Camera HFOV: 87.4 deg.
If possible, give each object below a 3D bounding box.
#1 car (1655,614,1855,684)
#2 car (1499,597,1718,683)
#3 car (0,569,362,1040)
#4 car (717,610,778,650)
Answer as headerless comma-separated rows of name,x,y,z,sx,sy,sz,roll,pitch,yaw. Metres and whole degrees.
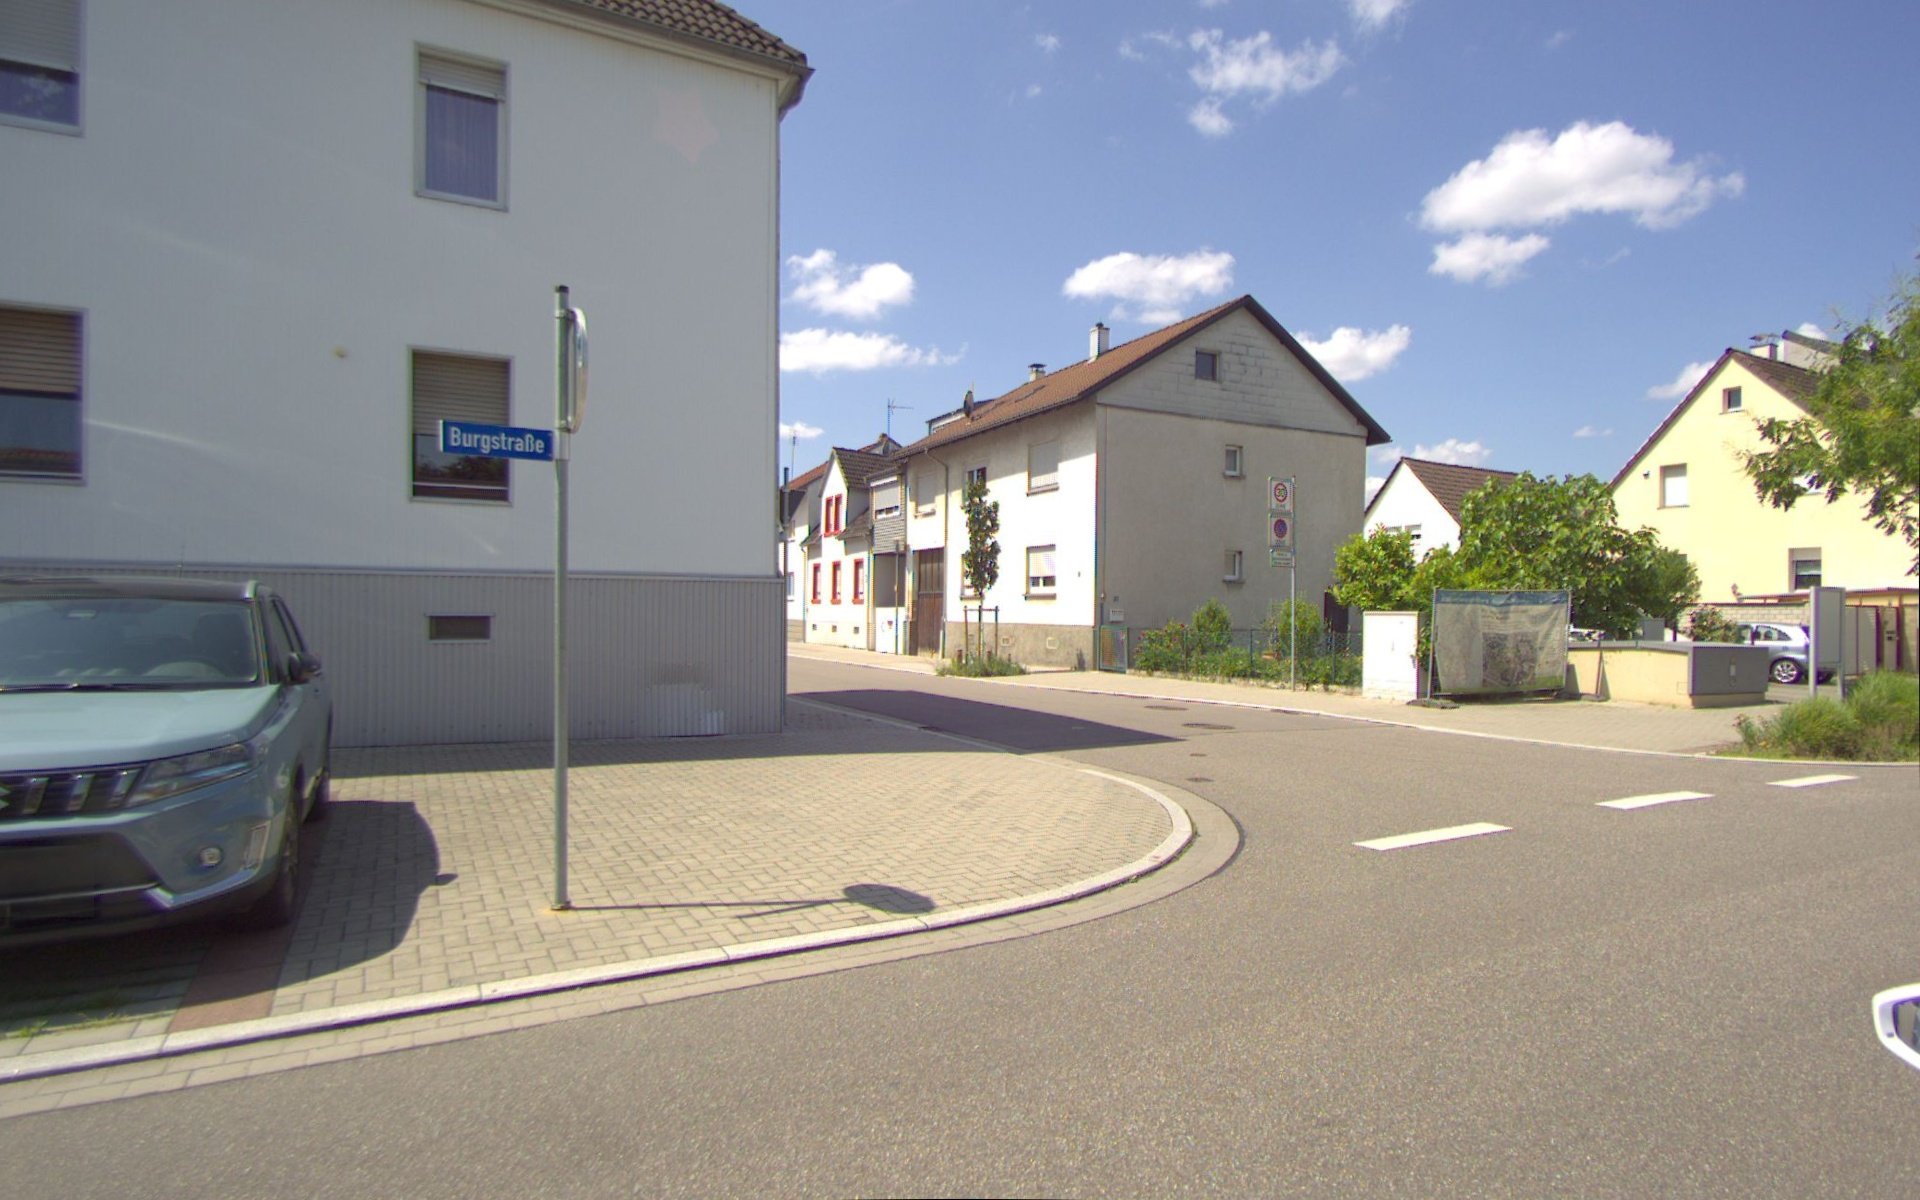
car,19.793,1.164,25.161,1.767,1.490,3.515,1,1,-24
car,15.516,0.877,24.252,1.974,1.824,3.972,1,1,-27
car,-4.347,0.688,5.357,1.750,1.641,4.157,2,0,-28
car,-10.184,1.404,48.000,1.867,1.752,3.972,-2,1,-27
